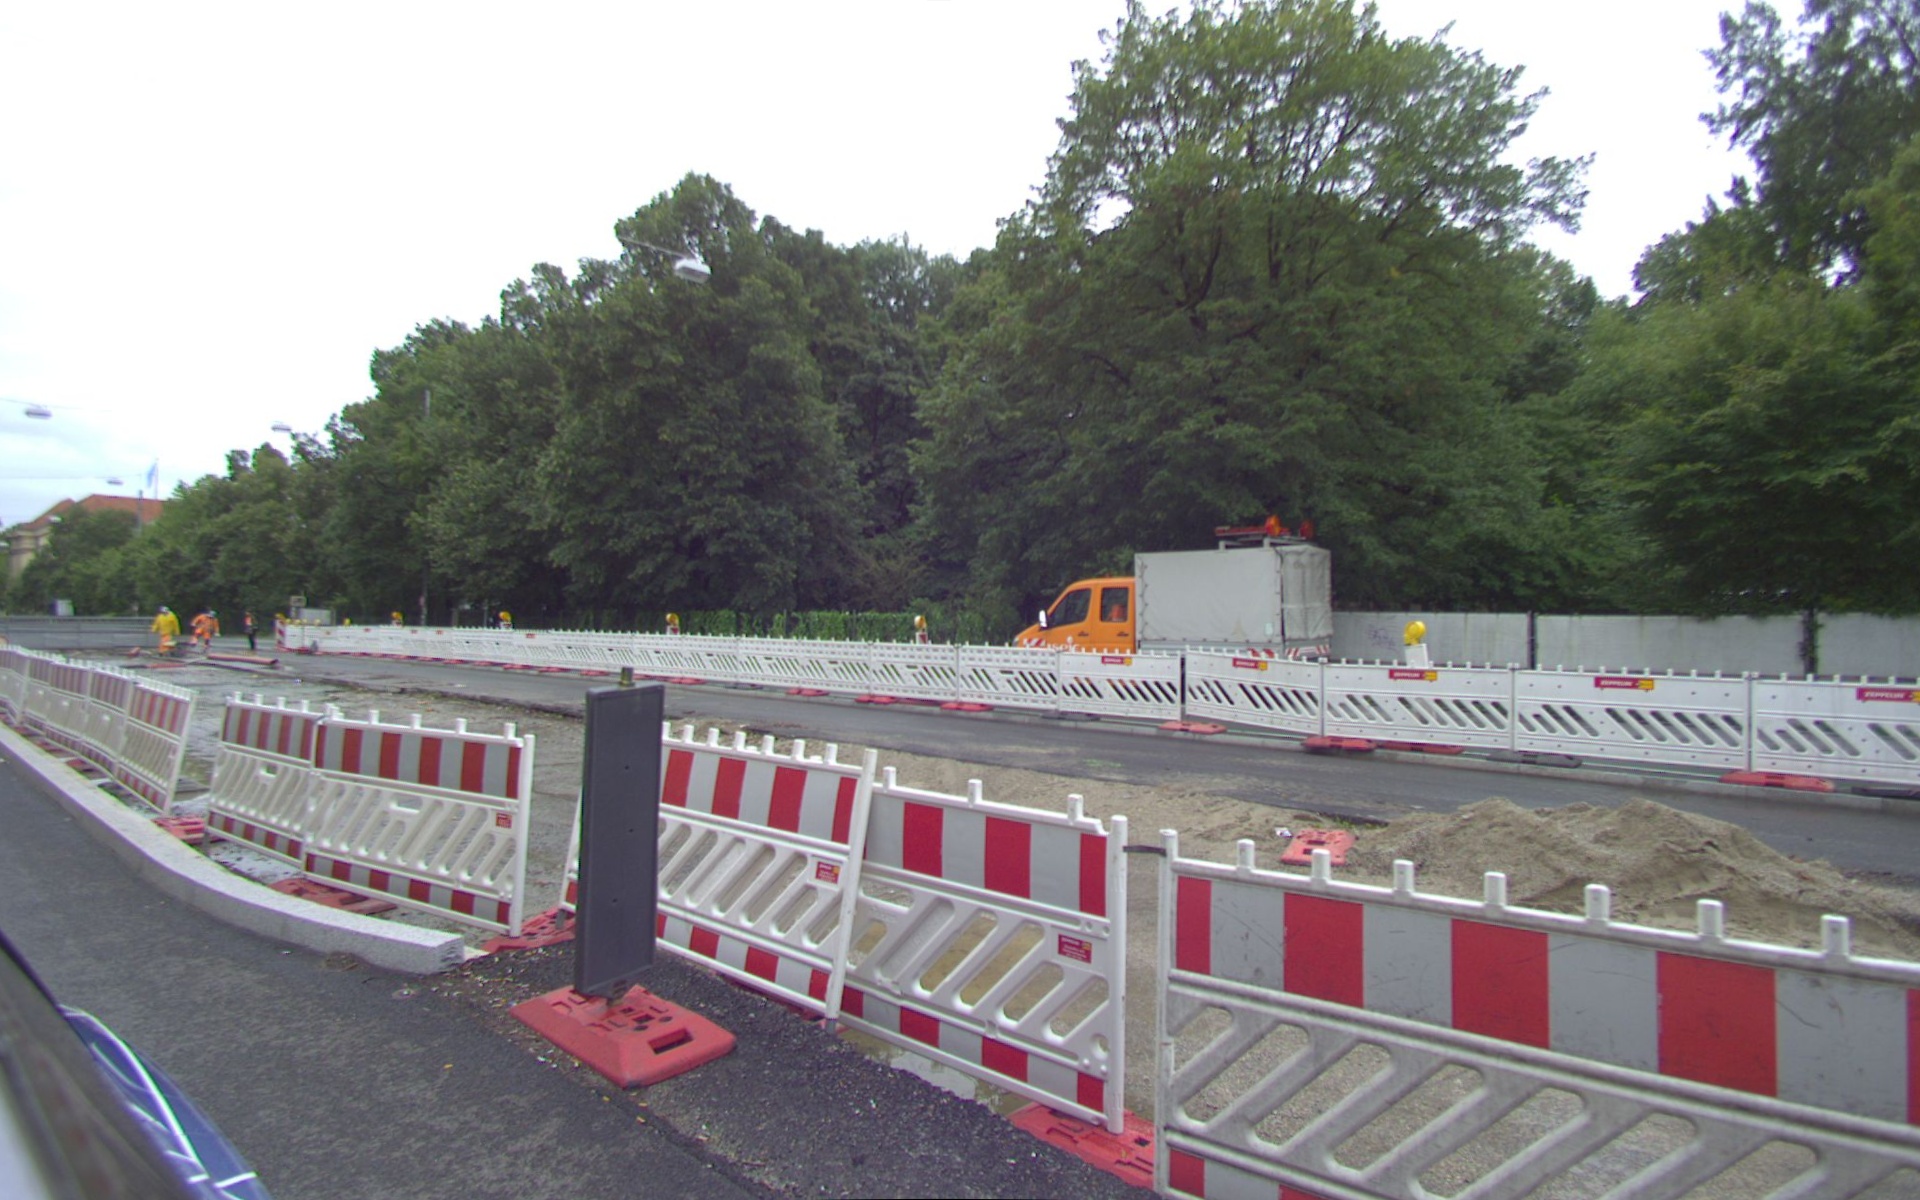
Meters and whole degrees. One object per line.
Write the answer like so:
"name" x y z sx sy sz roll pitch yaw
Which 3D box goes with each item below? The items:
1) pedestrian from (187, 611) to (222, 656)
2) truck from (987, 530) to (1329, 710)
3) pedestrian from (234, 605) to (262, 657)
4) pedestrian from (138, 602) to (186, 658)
"pedestrian" -28.899 1.292 38.704 0.911 1.701 0.887 -1 -3 44
"truck" 3.504 0.386 19.080 6.213 2.871 2.098 -1 -3 44
"pedestrian" -27.374 1.189 38.896 0.657 1.985 0.808 2 -2 -23
"pedestrian" -27.039 1.019 34.310 0.849 1.850 0.874 1 -2 3
